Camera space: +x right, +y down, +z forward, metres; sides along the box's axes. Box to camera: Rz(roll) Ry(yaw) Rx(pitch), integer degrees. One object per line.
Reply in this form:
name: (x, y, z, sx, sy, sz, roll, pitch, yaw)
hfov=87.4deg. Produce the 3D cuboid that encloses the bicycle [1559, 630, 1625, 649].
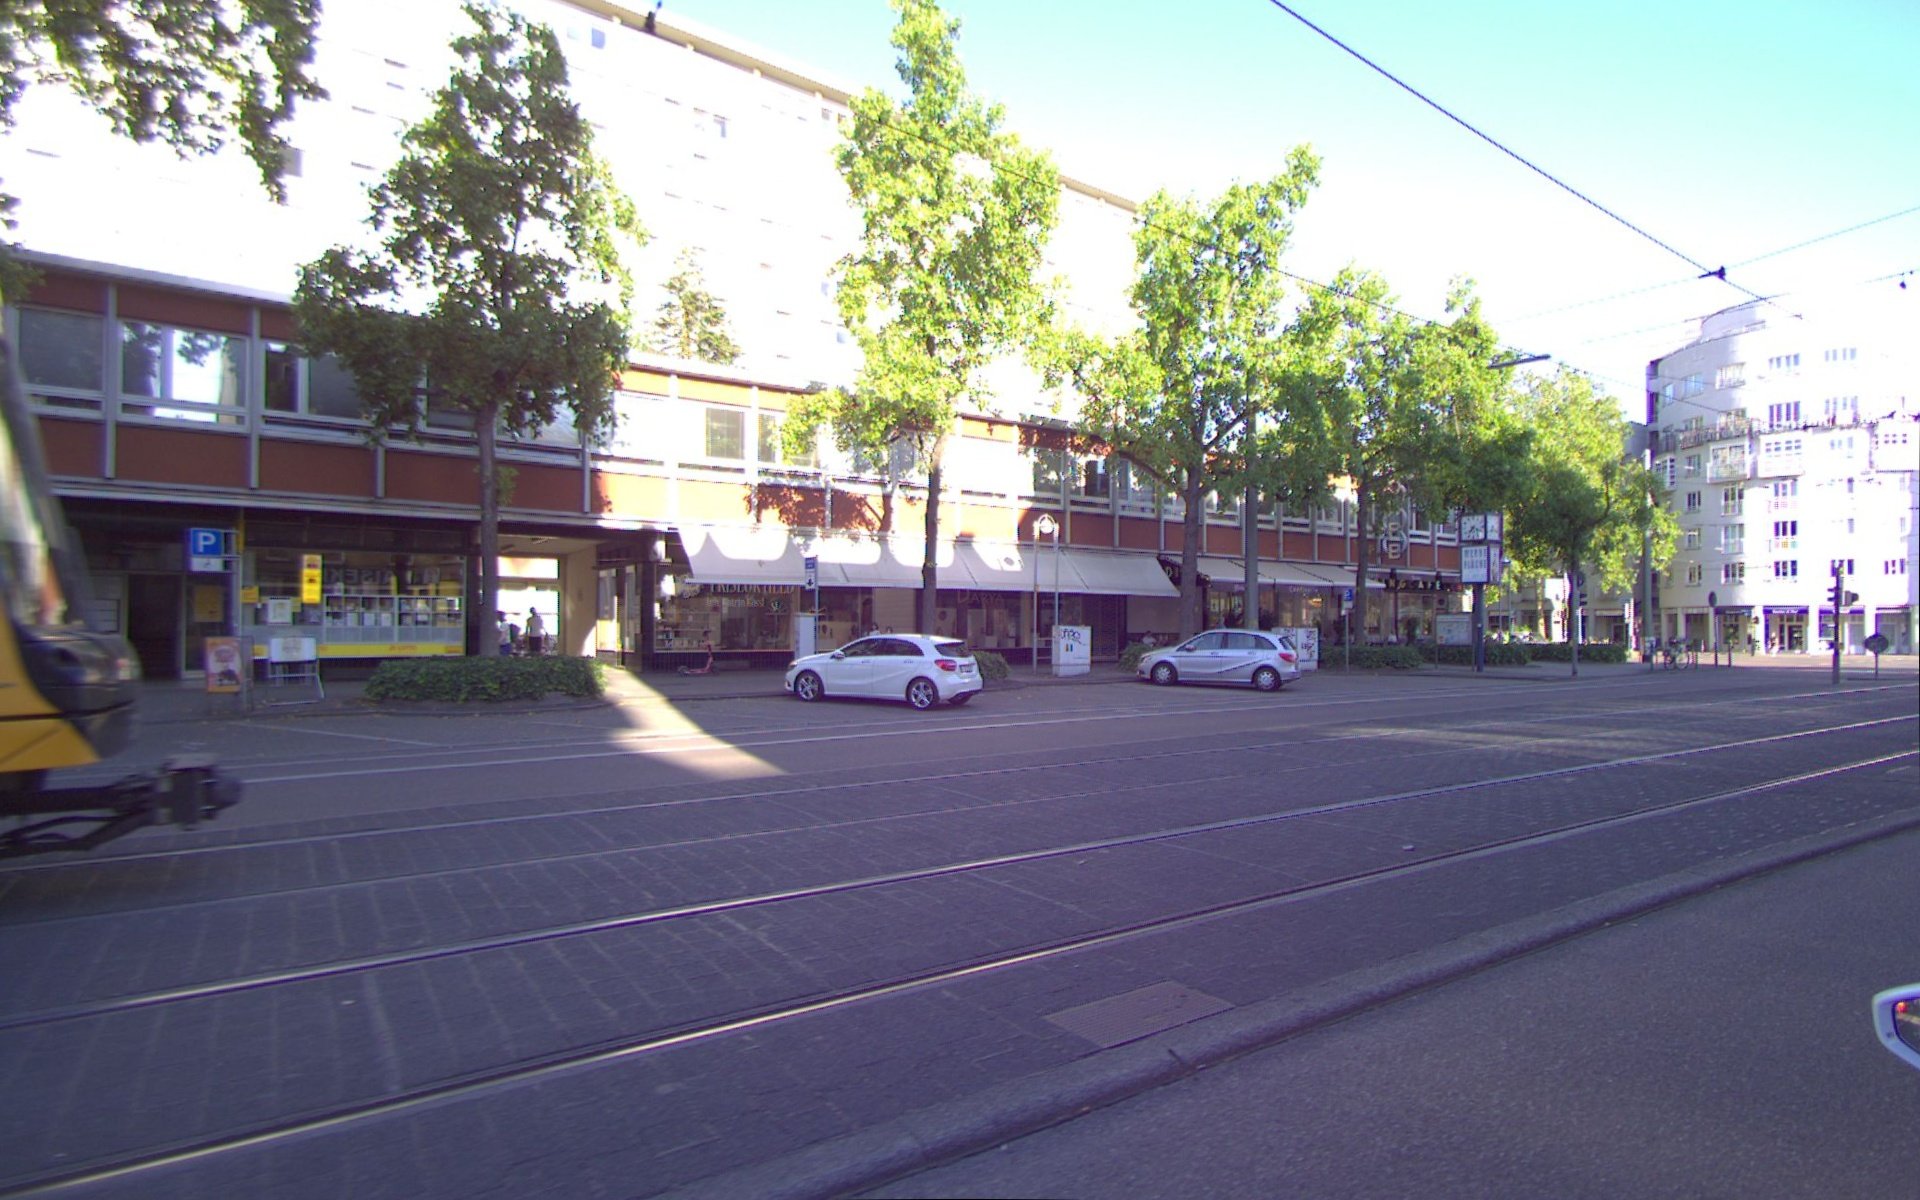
bicycle: (52.393, 3.282, 83.323, 1.054, 1.550, 4.682, 1, -2, -30)

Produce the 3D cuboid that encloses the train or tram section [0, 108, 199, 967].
train or tram section: (-9.576, -0.372, 1.935, 12.712, 3.597, 2.659, 2, -3, -35)

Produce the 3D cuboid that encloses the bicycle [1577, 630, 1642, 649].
bicycle: (54.692, 3.333, 84.661, 1.054, 1.550, 4.682, 1, -2, -30)

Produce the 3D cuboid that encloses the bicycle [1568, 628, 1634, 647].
bicycle: (53.415, 3.149, 83.811, 1.054, 1.550, 4.682, 1, -2, -30)

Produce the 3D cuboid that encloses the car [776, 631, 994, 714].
car: (-1.568, 1.433, 20.834, 4.189, 1.448, 1.765, 1, -1, 26)

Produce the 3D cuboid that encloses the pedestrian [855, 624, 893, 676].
pedestrian: (-2.496, 1.439, 29.183, 0.892, 1.490, 0.682, 1, -2, -36)

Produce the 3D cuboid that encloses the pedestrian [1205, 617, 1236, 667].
pedestrian: (9.364, 1.504, 36.132, 0.866, 1.745, 0.699, 0, 0, -35)

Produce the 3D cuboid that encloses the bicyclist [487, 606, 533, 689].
bicyclist: (-10.285, 1.076, 22.959, 0.483, 1.846, 0.826, -1, -1, 30)

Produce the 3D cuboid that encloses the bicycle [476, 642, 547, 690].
bicycle: (-10.259, 1.488, 22.999, 0.483, 1.039, 1.494, -1, -1, 29)

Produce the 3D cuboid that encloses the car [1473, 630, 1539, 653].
car: (38.413, 2.886, 70.736, 1.606, 1.579, 3.999, 0, -2, -21)

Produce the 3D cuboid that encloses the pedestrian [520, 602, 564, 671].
pedestrian: (-12.235, 1.075, 29.408, 0.987, 1.974, 0.891, 1, -2, -36)

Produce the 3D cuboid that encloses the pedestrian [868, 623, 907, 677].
pedestrian: (-2.056, 1.416, 28.637, 0.892, 1.517, 0.682, 1, -2, -36)

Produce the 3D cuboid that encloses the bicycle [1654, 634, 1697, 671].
bicycle: (27.971, 2.040, 39.267, 1.884, 1.345, 0.667, 1, 1, -32)

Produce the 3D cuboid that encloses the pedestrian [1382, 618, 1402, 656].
pedestrian: (20.009, 1.698, 46.494, 0.590, 1.745, 0.647, 0, 0, -15)

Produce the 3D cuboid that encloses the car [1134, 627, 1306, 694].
car: (7.002, 1.583, 27.047, 4.199, 1.587, 1.826, 1, -1, 25)

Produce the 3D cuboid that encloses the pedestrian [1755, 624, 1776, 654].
pedestrian: (56.083, 2.713, 69.928, 0.930, 2.040, 0.939, -1, -1, 29)

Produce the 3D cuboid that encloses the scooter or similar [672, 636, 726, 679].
scooter or similar: (-6.992, 1.540, 26.937, 1.325, 1.108, 0.471, 1, -1, -37)
